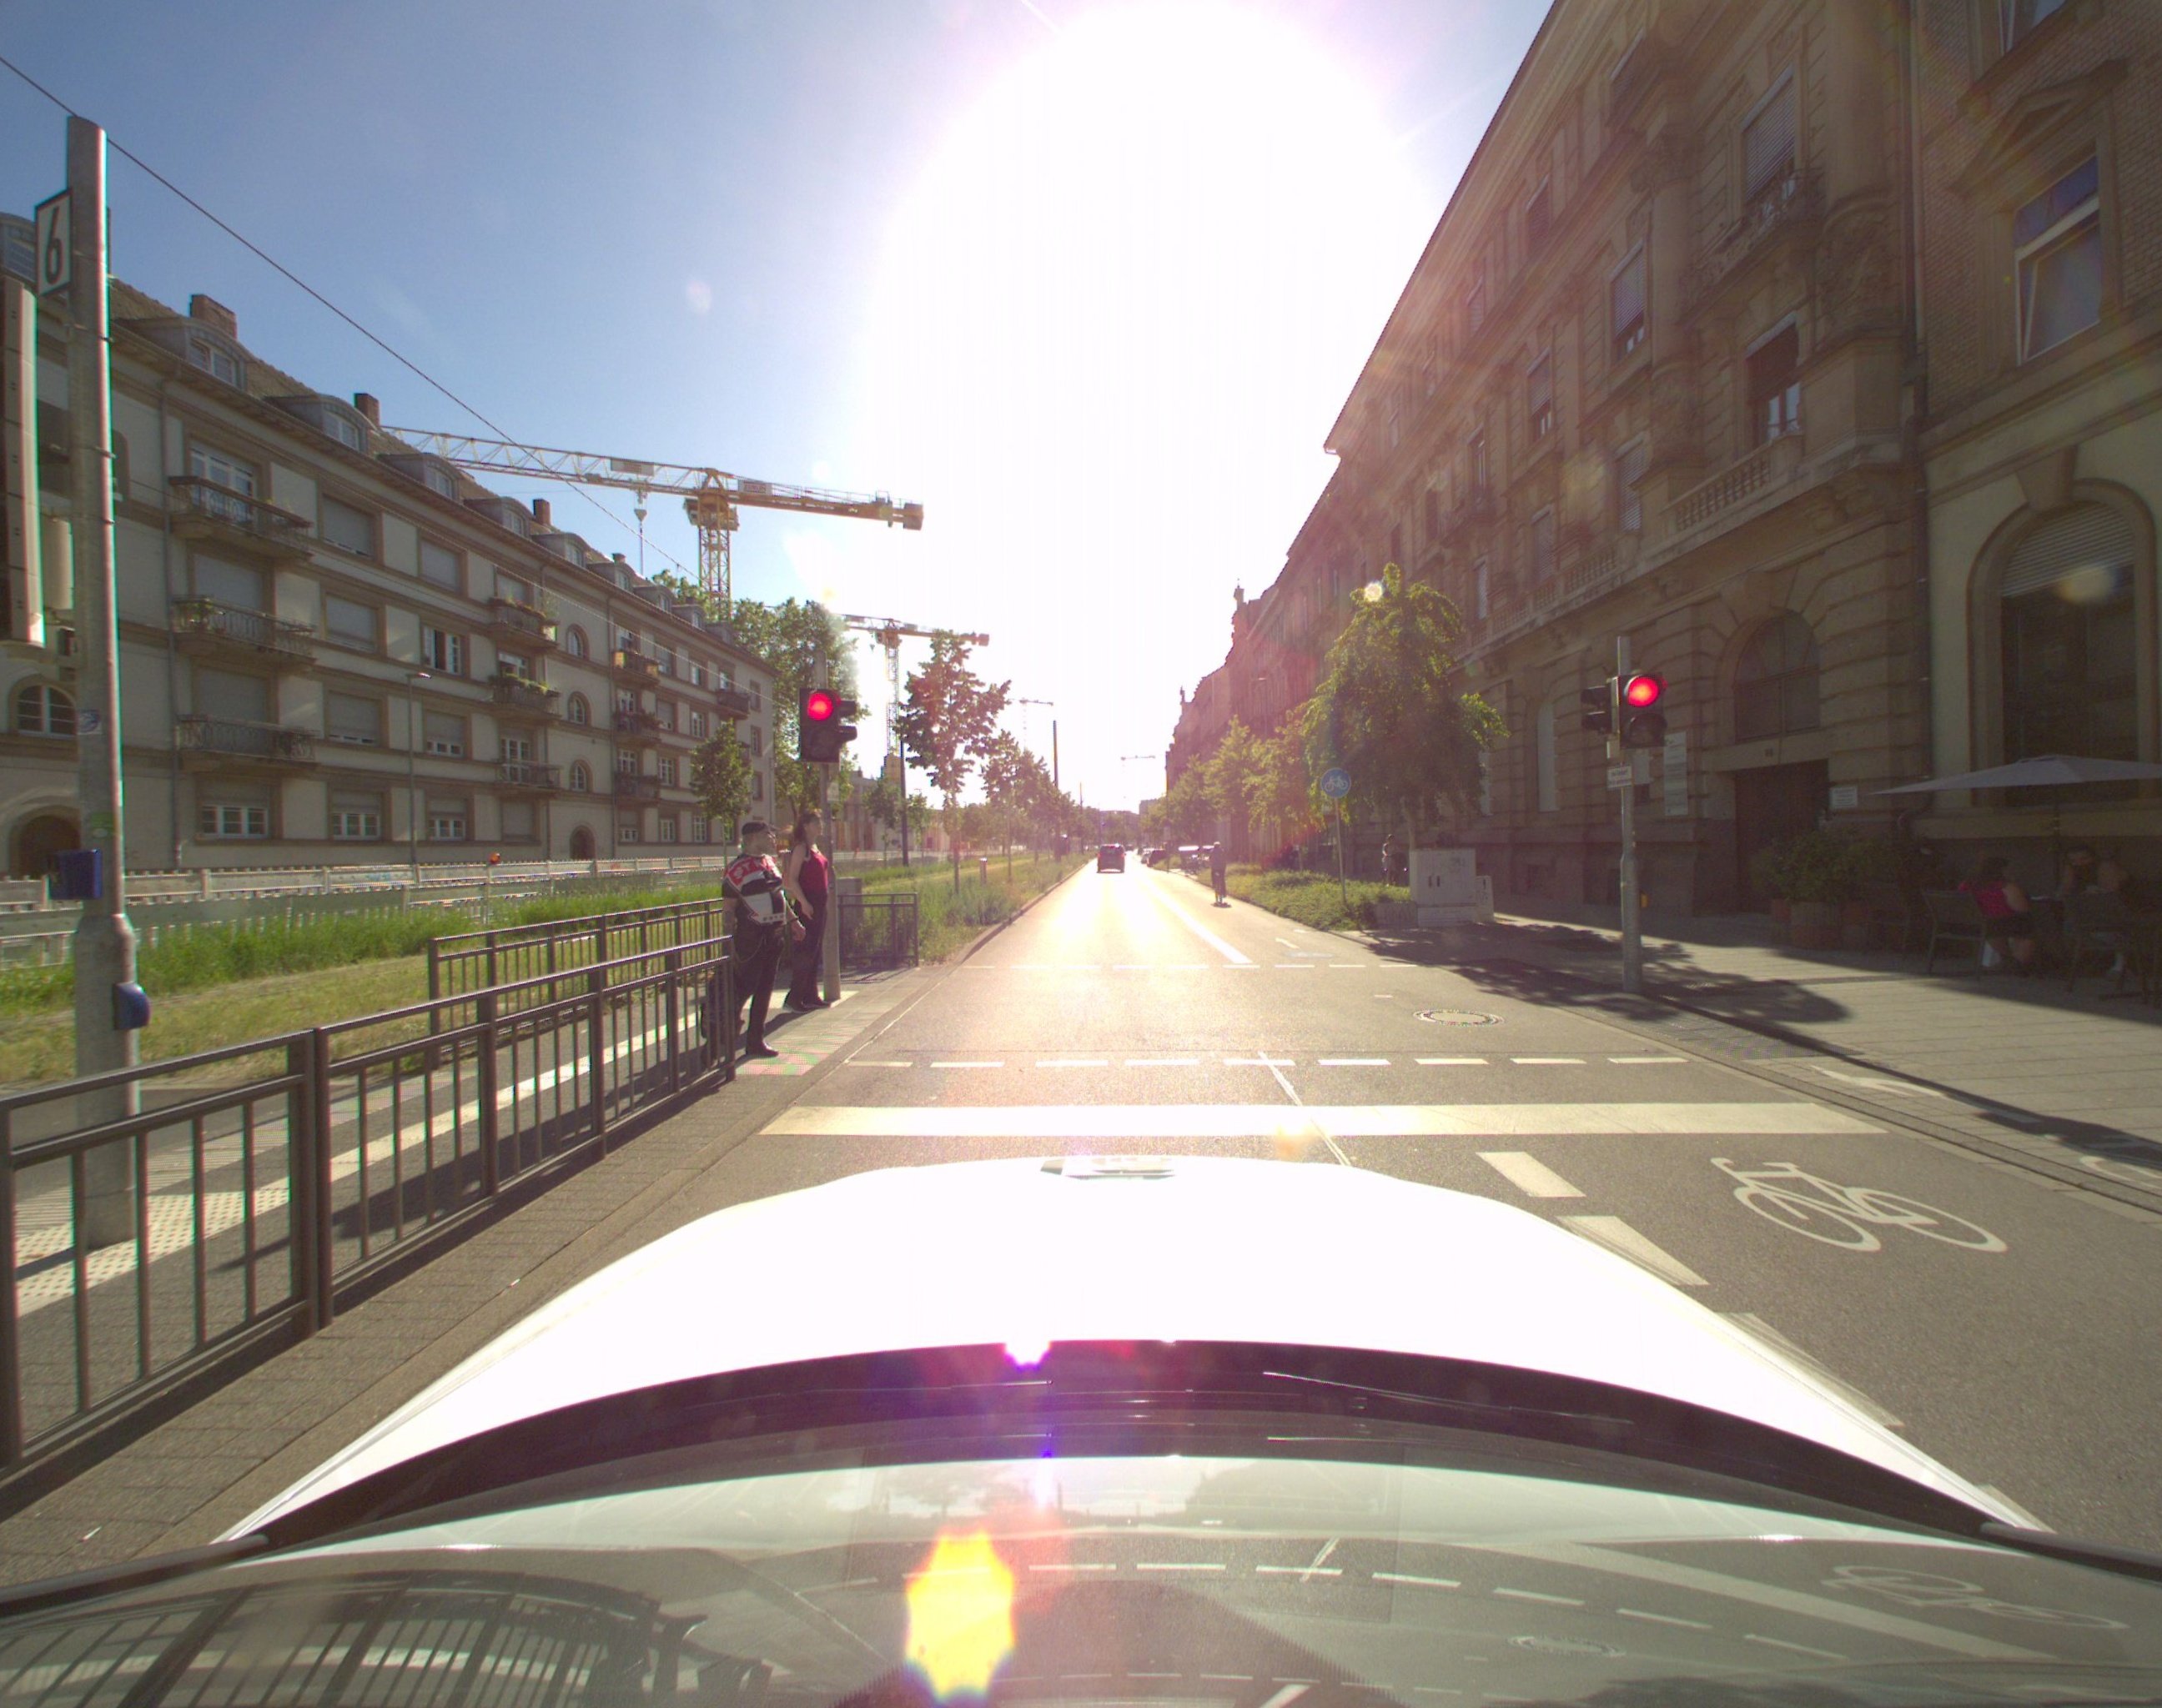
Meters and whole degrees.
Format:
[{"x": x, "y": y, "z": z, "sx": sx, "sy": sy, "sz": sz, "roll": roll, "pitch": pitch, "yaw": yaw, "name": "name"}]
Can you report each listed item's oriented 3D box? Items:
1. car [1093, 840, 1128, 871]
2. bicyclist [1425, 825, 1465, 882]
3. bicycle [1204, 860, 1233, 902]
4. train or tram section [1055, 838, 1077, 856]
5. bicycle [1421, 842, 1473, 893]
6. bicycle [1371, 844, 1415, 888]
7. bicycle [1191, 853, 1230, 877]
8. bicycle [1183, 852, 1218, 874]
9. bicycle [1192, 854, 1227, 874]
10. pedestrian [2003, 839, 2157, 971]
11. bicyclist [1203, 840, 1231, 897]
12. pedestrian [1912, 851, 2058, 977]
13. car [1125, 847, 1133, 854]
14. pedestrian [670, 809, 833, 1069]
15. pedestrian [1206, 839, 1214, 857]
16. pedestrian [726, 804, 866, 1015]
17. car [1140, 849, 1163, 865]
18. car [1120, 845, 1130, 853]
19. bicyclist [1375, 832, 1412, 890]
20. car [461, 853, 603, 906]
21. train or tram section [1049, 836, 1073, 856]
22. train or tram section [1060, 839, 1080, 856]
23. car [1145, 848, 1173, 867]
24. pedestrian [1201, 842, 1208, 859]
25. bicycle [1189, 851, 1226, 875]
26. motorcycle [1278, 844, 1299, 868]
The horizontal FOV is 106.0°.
[{"x": 1.952, "y": 0.077, "z": 54.082, "sx": 2.192, "sy": 1.926, "sz": 4.656, "roll": -2, "pitch": 0, "yaw": 2, "name": "car"}, {"x": 10.327, "y": -0.017, "z": 23.123, "sx": 0.657, "sy": 1.530, "sz": 0.801, "roll": -6, "pitch": 0, "yaw": 3, "name": "bicyclist"}, {"x": 4.099, "y": 0.783, "z": 24.394, "sx": 0.599, "sy": 1.181, "sz": 1.870, "roll": 0, "pitch": 0, "yaw": 1, "name": "bicycle"}, {"x": -2.366, "y": -1.113, "z": 132.198, "sx": 2.744, "sy": 2.742, "sz": 9.872, "roll": 0, "pitch": 0, "yaw": 3, "name": "train or tram section"}, {"x": 10.385, "y": 0.352, "z": 23.184, "sx": 0.613, "sy": 1.330, "sz": 1.902, "roll": -6, "pitch": 0, "yaw": 3, "name": "bicycle"}, {"x": 9.093, "y": 0.333, "z": 23.797, "sx": 0.581, "sy": 1.222, "sz": 1.901, "roll": -1, "pitch": 1, "yaw": 2, "name": "bicycle"}, {"x": 6.499, "y": 0.540, "z": 40.773, "sx": 1.786, "sy": 1.030, "sz": 0.528, "roll": -6, "pitch": 0, "yaw": 1, "name": "bicycle"}, {"x": 6.637, "y": 0.485, "z": 45.134, "sx": 1.786, "sy": 1.030, "sz": 0.528, "roll": -6, "pitch": 0, "yaw": 1, "name": "bicycle"}, {"x": 6.877, "y": 0.522, "z": 43.672, "sx": 1.786, "sy": 1.030, "sz": 0.528, "roll": -2, "pitch": 0, "yaw": 1, "name": "bicycle"}, {"x": 9.996, "y": 0.494, "z": 8.172, "sx": 0.703, "sy": 1.236, "sz": 0.635, "roll": -3, "pitch": 0, "yaw": 1, "name": "pedestrian"}, {"x": 4.089, "y": 0.430, "z": 24.558, "sx": 0.682, "sy": 1.673, "sz": 0.922, "roll": 0, "pitch": 0, "yaw": 1, "name": "bicyclist"}, {"x": 9.046, "y": 0.576, "z": 8.176, "sx": 0.703, "sy": 1.178, "sz": 0.635, "roll": -3, "pitch": 0, "yaw": 1, "name": "pedestrian"}, {"x": 12.021, "y": -0.831, "z": 203.898, "sx": 1.986, "sy": 1.838, "sz": 4.002, "roll": 0, "pitch": 0, "yaw": 2, "name": "car"}, {"x": -2.434, "y": 0.580, "z": 6.145, "sx": 0.863, "sy": 1.788, "sz": 0.969, "roll": -1, "pitch": 0, "yaw": -5, "name": "pedestrian"}, {"x": 11.831, "y": -0.514, "z": 74.677, "sx": 0.611, "sy": 1.611, "sz": 0.669, "roll": -2, "pitch": 0, "yaw": 1, "name": "pedestrian"}, {"x": -2.709, "y": 0.506, "z": 7.836, "sx": 1.073, "sy": 1.908, "sz": 0.652, "roll": -2, "pitch": 0, "yaw": -5, "name": "pedestrian"}, {"x": 6.978, "y": 0.277, "z": 80.948, "sx": 2.020, "sy": 1.499, "sz": 4.532, "roll": -2, "pitch": 0, "yaw": 2, "name": "car"}, {"x": 9.355, "y": -1.001, "z": 173.228, "sx": 1.986, "sy": 1.729, "sz": 4.001, "roll": 0, "pitch": 0, "yaw": 2, "name": "car"}, {"x": 9.098, "y": 0.189, "z": 23.732, "sx": 0.664, "sy": 1.639, "sz": 0.961, "roll": -2, "pitch": 0, "yaw": 1, "name": "bicyclist"}, {"x": -17.802, "y": 0.759, "z": 26.670, "sx": 1.809, "sy": 1.516, "sz": 4.002, "roll": -2, "pitch": 0, "yaw": 2, "name": "car"}, {"x": -2.901, "y": -1.145, "z": 122.357, "sx": 2.744, "sy": 2.742, "sz": 9.872, "roll": 0, "pitch": 0, "yaw": 3, "name": "train or tram section"}, {"x": -1.816, "y": -1.081, "z": 142.051, "sx": 2.744, "sy": 2.742, "sz": 9.872, "roll": 0, "pitch": 0, "yaw": 3, "name": "train or tram section"}, {"x": 6.513, "y": 0.262, "z": 68.549, "sx": 2.020, "sy": 1.499, "sz": 4.656, "roll": -2, "pitch": 0, "yaw": 2, "name": "car"}, {"x": 12.344, "y": -0.337, "z": 81.280, "sx": 0.611, "sy": 1.611, "sz": 0.669, "roll": -2, "pitch": 0, "yaw": 1, "name": "pedestrian"}, {"x": 6.531, "y": 0.474, "z": 42.146, "sx": 1.786, "sy": 1.030, "sz": 0.528, "roll": -6, "pitch": 0, "yaw": 1, "name": "bicycle"}, {"x": 11.504, "y": 0.095, "z": 45.200, "sx": 0.697, "sy": 1.267, "sz": 1.983, "roll": -2, "pitch": 0, "yaw": 2, "name": "motorcycle"}]
